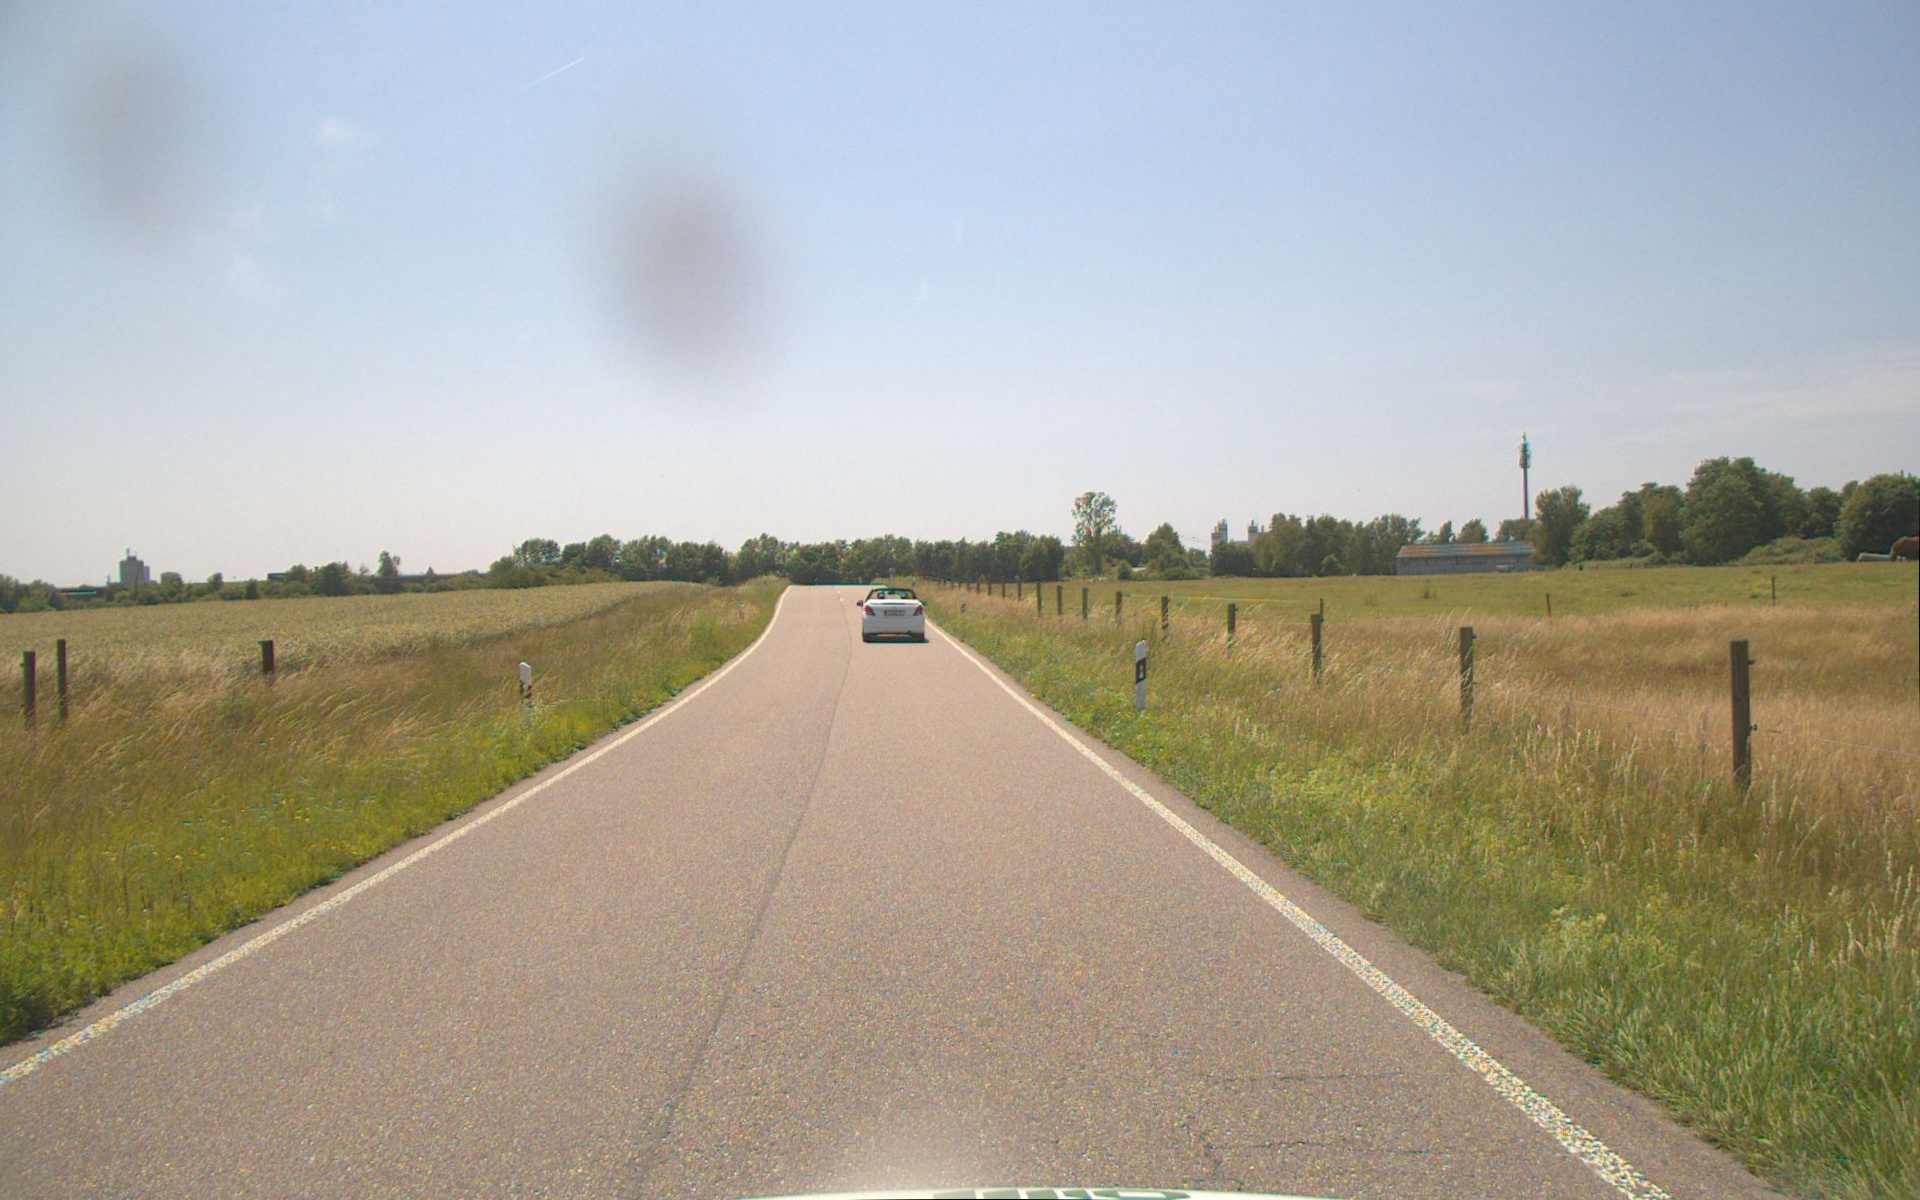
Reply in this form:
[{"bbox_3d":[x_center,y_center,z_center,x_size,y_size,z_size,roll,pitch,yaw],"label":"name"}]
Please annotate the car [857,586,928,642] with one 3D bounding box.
[{"bbox_3d":[-1.900,0.358,45.289,1.814,1.403,3.997,0,1,-4],"label":"car"}]
